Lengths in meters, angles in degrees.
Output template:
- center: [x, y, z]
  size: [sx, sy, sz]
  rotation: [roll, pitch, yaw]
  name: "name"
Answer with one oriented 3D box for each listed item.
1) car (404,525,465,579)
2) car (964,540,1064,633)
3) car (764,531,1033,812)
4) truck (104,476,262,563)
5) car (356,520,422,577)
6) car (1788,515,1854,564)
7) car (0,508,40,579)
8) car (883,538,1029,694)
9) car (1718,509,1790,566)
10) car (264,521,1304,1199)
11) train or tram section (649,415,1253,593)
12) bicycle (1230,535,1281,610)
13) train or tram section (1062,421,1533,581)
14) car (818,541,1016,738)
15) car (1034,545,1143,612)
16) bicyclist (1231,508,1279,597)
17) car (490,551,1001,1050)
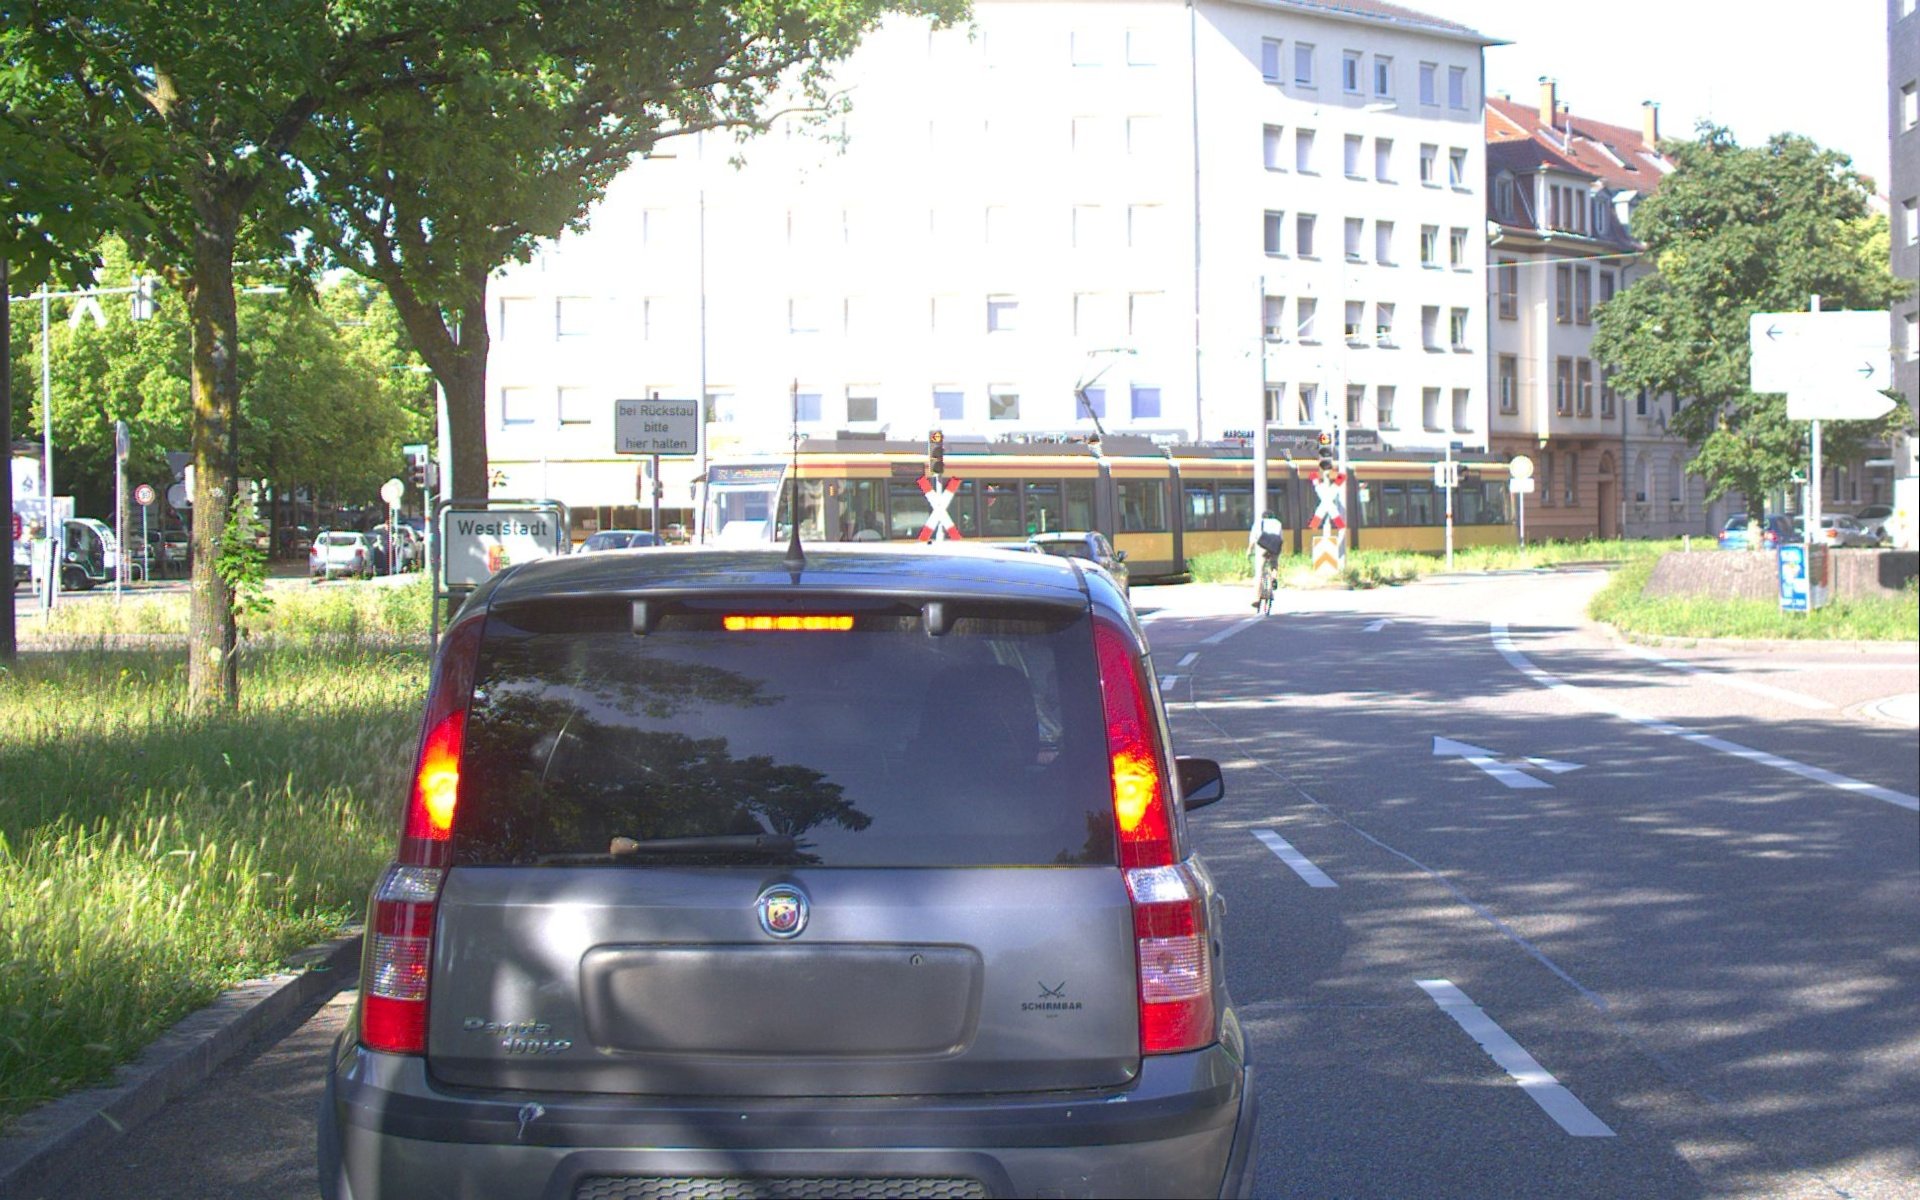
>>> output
- center: [-20.358, -1.871, 133.307]
  size: [1.993, 2.007, 4.001]
  rotation: [-1, 1, -4]
  name: "car"
- center: [0.753, -0.212, 49.599]
  size: [1.356, 1.277, 2.876]
  rotation: [0, 1, -1]
  name: "car"
- center: [-0.355, 0.355, 20.625]
  size: [1.463, 1.503, 3.505]
  rotation: [0, 2, -1]
  name: "car"
- center: [-28.874, -2.988, 127.778]
  size: [5.485, 3.158, 2.340]
  rotation: [0, 1, 28]
  name: "truck"
- center: [-20.509, -1.864, 123.587]
  size: [1.993, 2.007, 4.001]
  rotation: [-1, 1, -4]
  name: "car"
- center: [23.563, -1.663, 94.021]
  size: [1.528, 1.310, 3.285]
  rotation: [0, 1, 18]
  name: "car"
- center: [-28.580, -1.598, 98.080]
  size: [4.176, 2.007, 1.932]
  rotation: [-1, 1, -2]
  name: "car"
- center: [-0.056, 0.121, 33.866]
  size: [1.356, 1.444, 3.266]
  rotation: [-1, 1, -1]
  name: "car"
- center: [20.886, -1.659, 90.393]
  size: [1.683, 1.444, 3.569]
  rotation: [0, 1, 15]
  name: "car"
- center: [-0.295, 0.595, 7.422]
  size: [1.628, 1.503, 4.000]
  rotation: [-1, 1, -1]
  name: "car"
- center: [0.433, -2.140, 76.707]
  size: [3.302, 3.501, 19.348]
  rotation: [0, 2, 33]
  name: "train or tram section"
- center: [4.809, -0.453, 56.008]
  size: [0.708, 1.194, 2.520]
  rotation: [1, 1, 3]
  name: "bicycle"
- center: [9.422, -2.606, 90.538]
  size: [3.302, 3.757, 20.772]
  rotation: [0, 2, 32]
  name: "train or tram section"
- center: [-0.342, 0.265, 27.305]
  size: [1.463, 1.420, 3.381]
  rotation: [0, 2, -1]
  name: "car"
- center: [2.175, -0.370, 57.673]
  size: [1.143, 1.060, 2.719]
  rotation: [0, 1, 17]
  name: "car"
- center: [4.810, -0.779, 56.122]
  size: [0.741, 1.433, 0.845]
  rotation: [1, 0, 3]
  name: "bicyclist"
- center: [-0.638, 0.557, 11.643]
  size: [1.463, 1.396, 3.393]
  rotation: [0, 1, -1]
  name: "car"
